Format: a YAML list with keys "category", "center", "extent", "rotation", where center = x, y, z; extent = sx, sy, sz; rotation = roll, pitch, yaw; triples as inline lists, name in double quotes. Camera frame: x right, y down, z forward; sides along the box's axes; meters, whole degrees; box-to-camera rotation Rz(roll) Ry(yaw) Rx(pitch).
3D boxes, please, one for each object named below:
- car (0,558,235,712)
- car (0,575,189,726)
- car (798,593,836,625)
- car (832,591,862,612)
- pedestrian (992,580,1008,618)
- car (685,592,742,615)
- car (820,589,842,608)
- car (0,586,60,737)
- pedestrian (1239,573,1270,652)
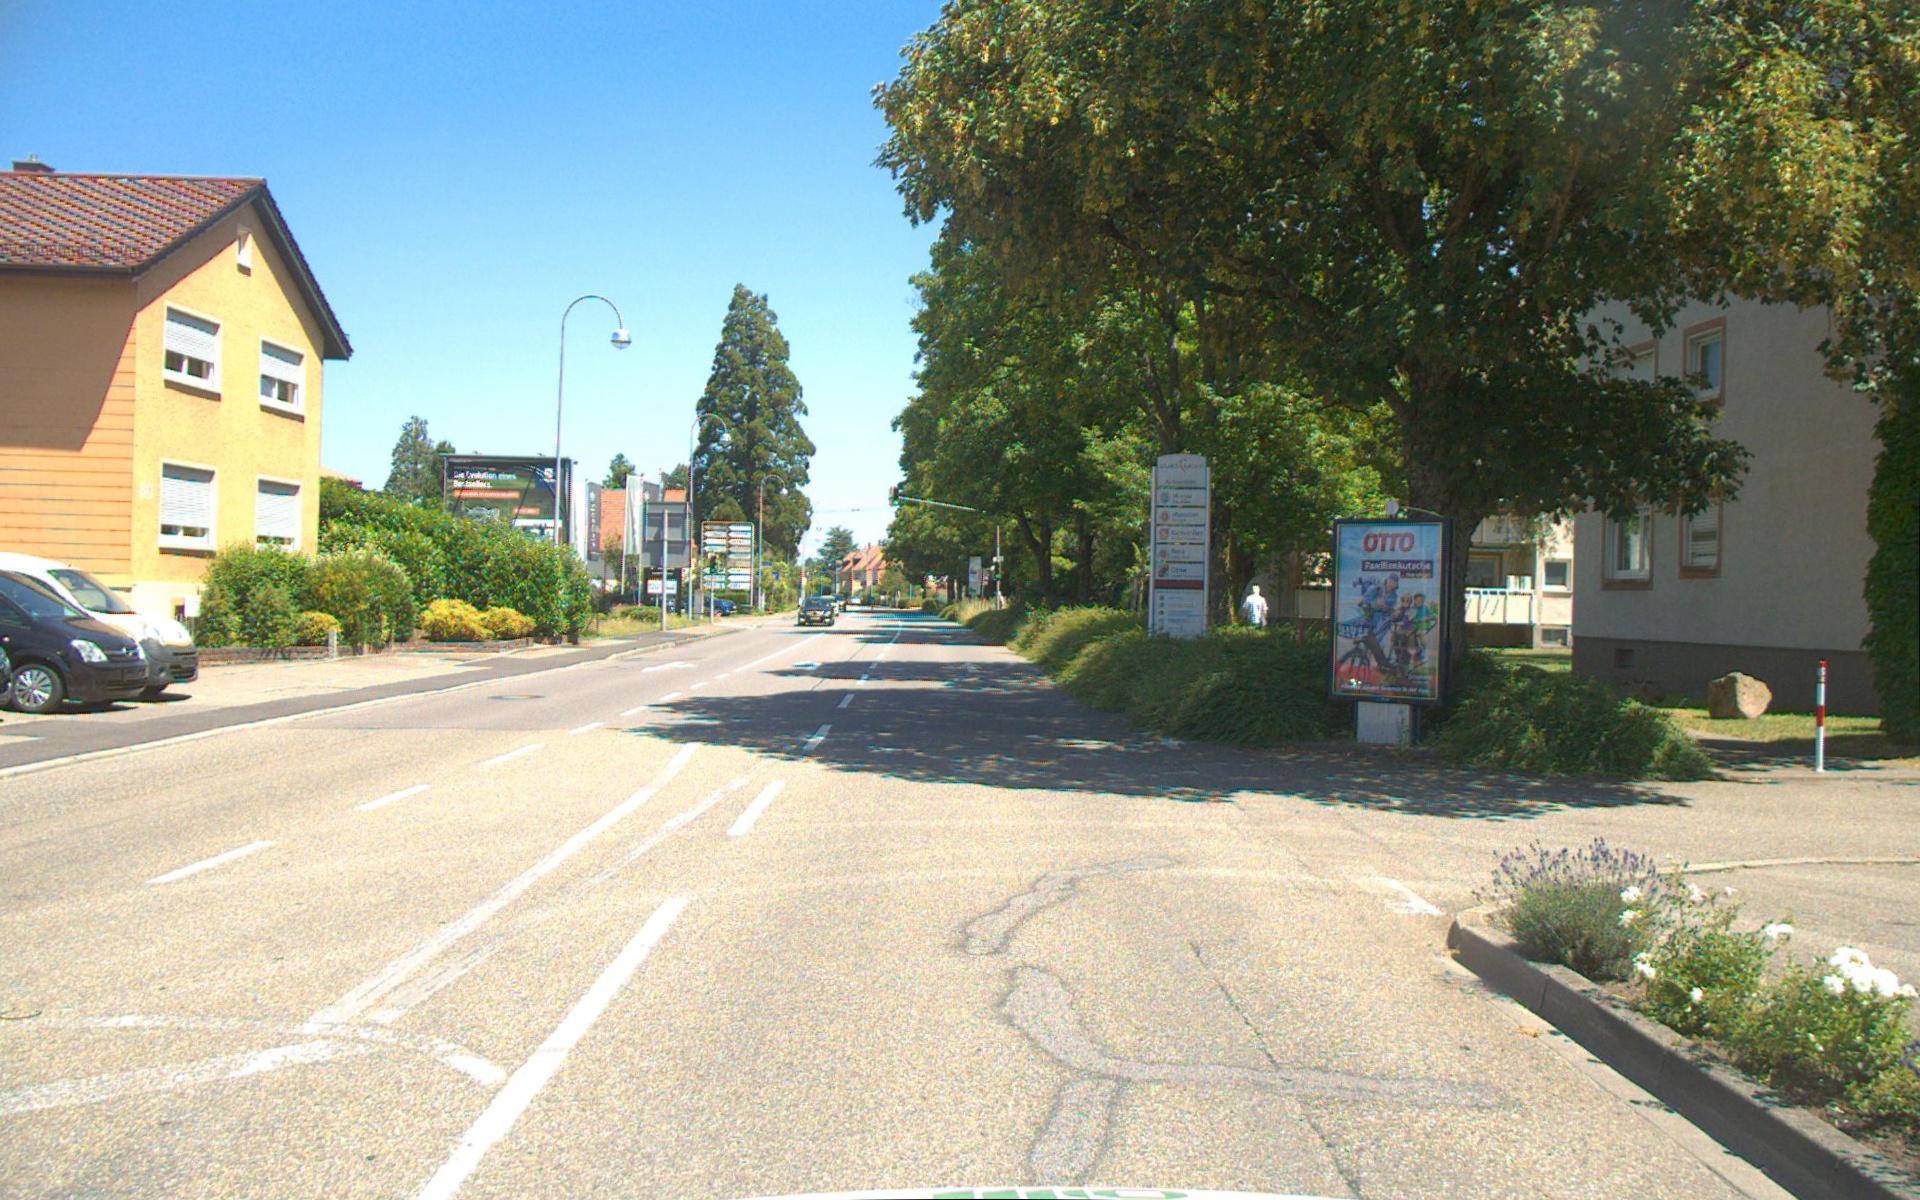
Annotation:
- category: "car"
  center: [-11.935, 0.439, 21.649]
  extent: [4.014, 1.931, 1.998]
  rotation: [0, 0, -6]
- category: "car"
  center: [-11.377, 0.570, 19.566]
  extent: [3.591, 1.702, 1.921]
  rotation: [0, 0, -3]
- category: "car"
  center: [-7.286, 0.432, 84.456]
  extent: [1.675, 1.521, 4.276]
  rotation: [0, 1, -1]
- category: "car"
  center: [-8.425, 0.086, 124.056]
  extent: [1.953, 1.513, 4.310]
  rotation: [0, 1, 0]
- category: "pedestrian"
  center: [1.865, -0.047, 76.711]
  extent: [0.600, 1.781, 0.562]
  rotation: [0, 0, 15]
- category: "car"
  center: [-15.489, 0.228, 104.037]
  extent: [3.421, 1.452, 1.600]
  rotation: [0, 0, -3]
- category: "car"
  center: [-12.406, -0.164, 158.849]
  extent: [1.841, 1.747, 4.309]
  rotation: [0, 0, -1]
- category: "car"
  center: [-11.738, 0.630, 17.286]
  extent: [3.591, 1.558, 1.921]
  rotation: [0, 0, -3]
- category: "pedestrian"
  center: [7.336, 0.309, 41.212]
  extent: [0.689, 1.948, 0.660]
  rotation: [0, 0, 2]
